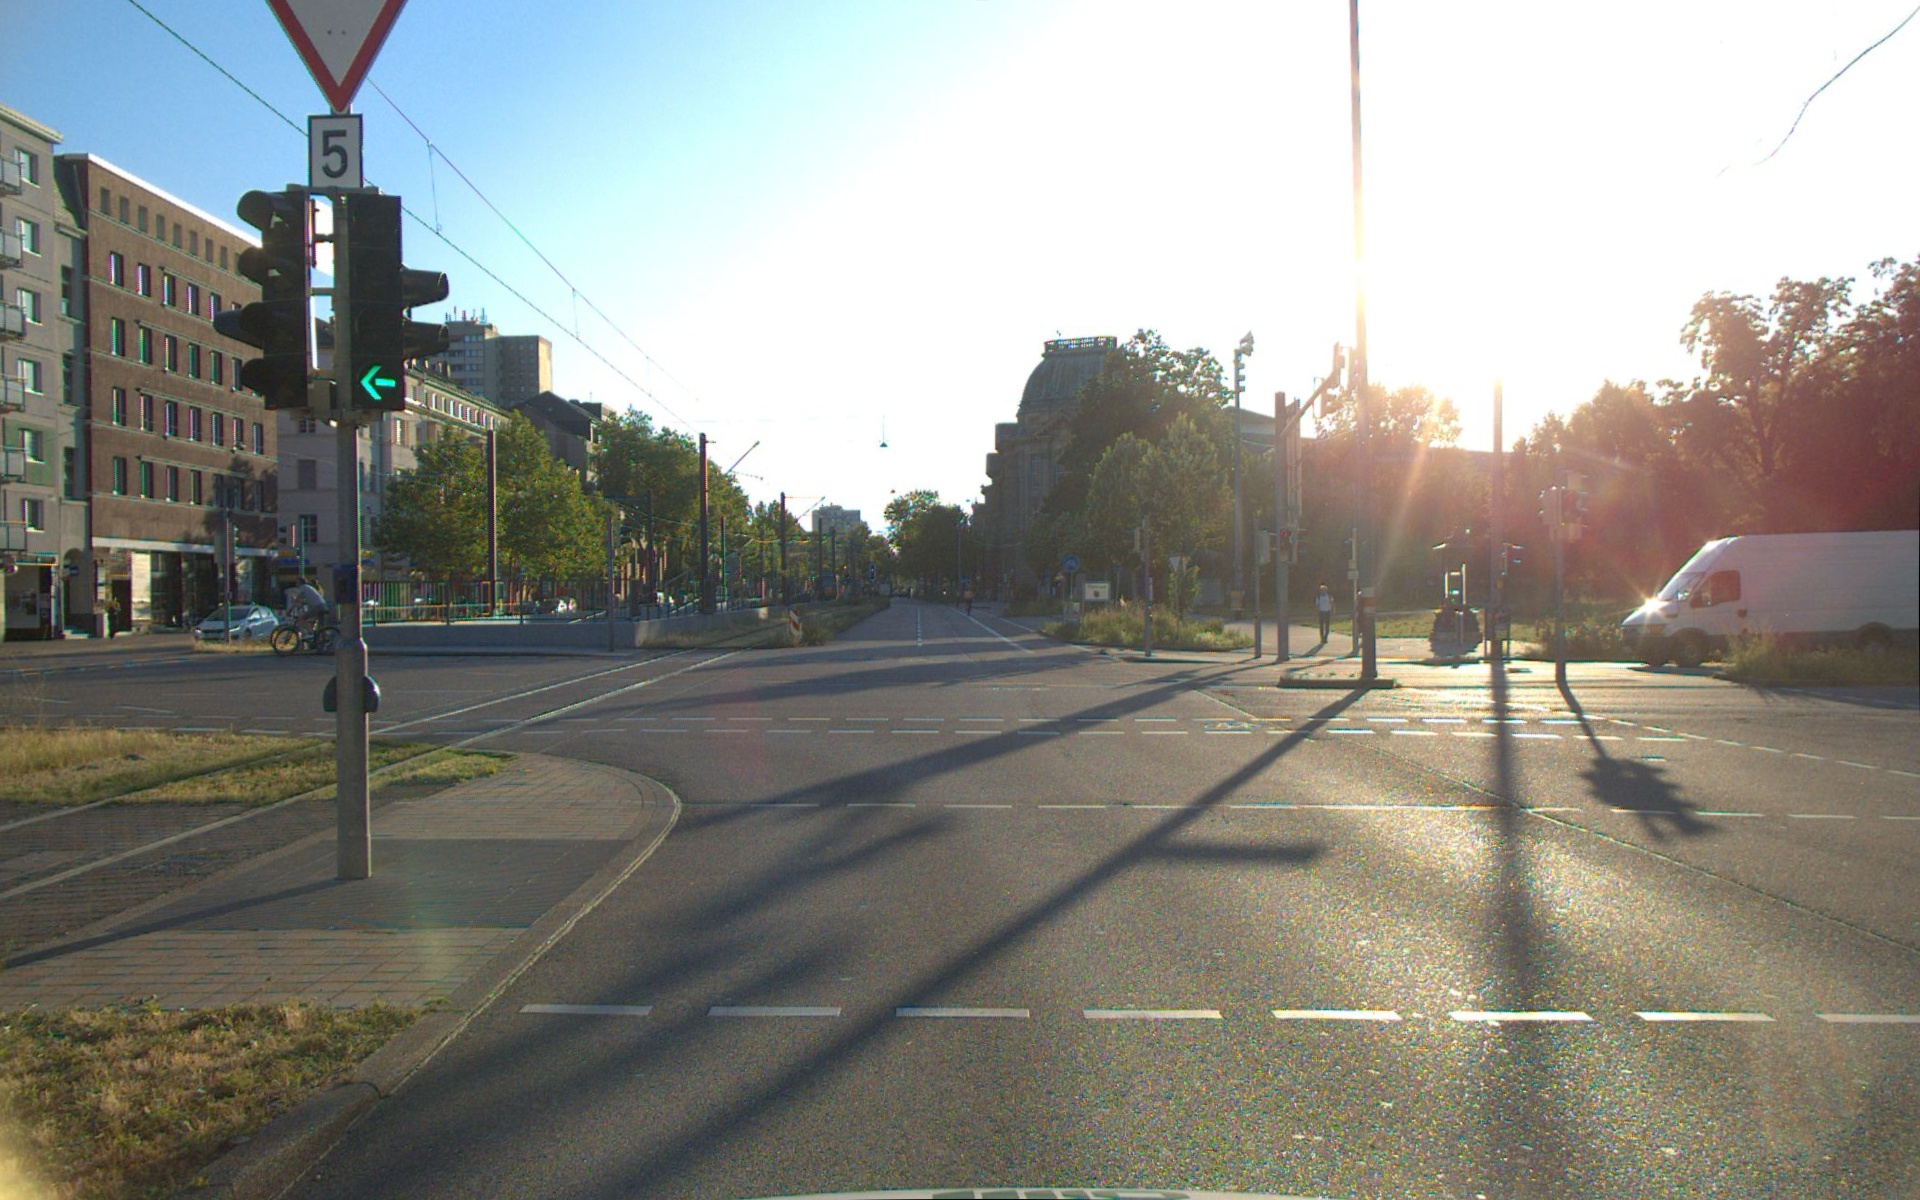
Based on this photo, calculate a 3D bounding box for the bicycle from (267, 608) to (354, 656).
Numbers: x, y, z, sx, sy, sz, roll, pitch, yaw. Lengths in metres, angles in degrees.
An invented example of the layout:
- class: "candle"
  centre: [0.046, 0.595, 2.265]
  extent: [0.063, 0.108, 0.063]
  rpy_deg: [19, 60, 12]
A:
- class: "bicycle"
  centre: [-15.450, 0.751, 39.409]
  extent: [1.871, 1.094, 0.629]
  rpy_deg: [-1, 0, -18]

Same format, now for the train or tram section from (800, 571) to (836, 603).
- class: "train or tram section"
  centre: [-17.956, -1.631, 209.621]
  extent: [4.301, 3.917, 11.398]
  rpy_deg: [-1, 0, -5]

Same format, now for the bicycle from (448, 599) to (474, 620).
- class: "bicycle"
  centre: [-30.176, 0.593, 100.058]
  extent: [0.796, 1.222, 2.413]
  rpy_deg: [-1, 0, 2]

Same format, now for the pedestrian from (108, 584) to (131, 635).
- class: "pedestrian"
  centre: [-36.564, 0.397, 71.960]
  extent: [0.589, 2.216, 0.792]
  rpy_deg: [-1, 0, -1]

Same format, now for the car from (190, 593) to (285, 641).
- class: "car"
  centre: [-26.154, 0.593, 59.987]
  extent: [1.654, 1.646, 4.000]
  rpy_deg: [-2, 0, 0]

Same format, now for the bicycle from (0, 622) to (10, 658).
- class: "bicycle"
  centre: [-32.913, 1.354, 55.481]
  extent: [1.655, 1.173, 0.705]
  rpy_deg: [-1, 0, 1]

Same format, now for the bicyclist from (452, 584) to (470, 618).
- class: "bicyclist"
  centre: [-30.159, 0.039, 99.962]
  extent: [0.780, 2.049, 0.924]
  rpy_deg: [-1, 0, 1]

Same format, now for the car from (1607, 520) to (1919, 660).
- class: "car"
  centre: [17.830, -0.216, 35.739]
  extent: [6.866, 2.877, 2.093]
  rpy_deg: [-1, 0, 1]

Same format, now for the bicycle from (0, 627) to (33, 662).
- class: "bicycle"
  centre: [-33.018, 1.544, 57.015]
  extent: [1.655, 1.190, 0.748]
  rpy_deg: [-1, 0, 1]

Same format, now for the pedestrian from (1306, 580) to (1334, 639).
- class: "pedestrian"
  centre: [11.241, 0.298, 51.638]
  extent: [0.815, 1.835, 0.811]
  rpy_deg: [-1, 0, 14]

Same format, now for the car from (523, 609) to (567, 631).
- class: "car"
  centre: [-28.252, 1.355, 112.729]
  extent: [1.781, 1.445, 4.002]
  rpy_deg: [-1, 0, 3]

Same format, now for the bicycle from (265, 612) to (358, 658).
- class: "bicycle"
  centre: [-16.154, 0.857, 41.230]
  extent: [2.130, 1.102, 0.536]
  rpy_deg: [0, 0, -18]

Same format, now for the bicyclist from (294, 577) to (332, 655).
- class: "bicyclist"
  centre: [-15.418, 0.374, 39.422]
  extent: [0.780, 1.850, 0.643]
  rpy_deg: [-1, 0, -17]

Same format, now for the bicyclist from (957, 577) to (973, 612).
- class: "bicyclist"
  centre: [0.340, -0.341, 110.161]
  extent: [1.060, 2.316, 0.986]
  rpy_deg: [0, 0, -1]

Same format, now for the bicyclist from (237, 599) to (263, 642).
- class: "bicyclist"
  centre: [-30.102, 0.868, 70.117]
  extent: [0.686, 1.773, 0.792]
  rpy_deg: [-1, 0, 10]

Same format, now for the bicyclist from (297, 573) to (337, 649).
- class: "bicyclist"
  centre: [-16.036, 0.271, 41.272]
  extent: [0.862, 1.850, 0.535]
  rpy_deg: [-1, 0, -18]

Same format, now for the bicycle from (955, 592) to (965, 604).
- class: "bicycle"
  centre: [0.017, -0.177, 163.817]
  extent: [0.905, 1.131, 2.332]
  rpy_deg: [-1, 0, -1]

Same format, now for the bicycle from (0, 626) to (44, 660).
- class: "bicycle"
  centre: [-33.000, 1.498, 57.748]
  extent: [1.655, 1.164, 0.697]
  rpy_deg: [-1, 0, 1]

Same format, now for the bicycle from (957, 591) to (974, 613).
- class: "bicycle"
  centre: [0.344, 0.111, 110.178]
  extent: [1.075, 1.423, 2.831]
  rpy_deg: [-1, 0, -1]

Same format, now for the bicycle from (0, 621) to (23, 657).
- class: "bicycle"
  centre: [-32.902, 1.345, 56.239]
  extent: [1.655, 1.199, 0.748]
  rpy_deg: [-1, 0, 1]

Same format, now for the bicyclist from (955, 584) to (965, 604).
- class: "bicyclist"
  centre: [-0.016, -0.597, 163.791]
  extent: [0.907, 2.049, 0.850]
  rpy_deg: [-1, 0, -1]
